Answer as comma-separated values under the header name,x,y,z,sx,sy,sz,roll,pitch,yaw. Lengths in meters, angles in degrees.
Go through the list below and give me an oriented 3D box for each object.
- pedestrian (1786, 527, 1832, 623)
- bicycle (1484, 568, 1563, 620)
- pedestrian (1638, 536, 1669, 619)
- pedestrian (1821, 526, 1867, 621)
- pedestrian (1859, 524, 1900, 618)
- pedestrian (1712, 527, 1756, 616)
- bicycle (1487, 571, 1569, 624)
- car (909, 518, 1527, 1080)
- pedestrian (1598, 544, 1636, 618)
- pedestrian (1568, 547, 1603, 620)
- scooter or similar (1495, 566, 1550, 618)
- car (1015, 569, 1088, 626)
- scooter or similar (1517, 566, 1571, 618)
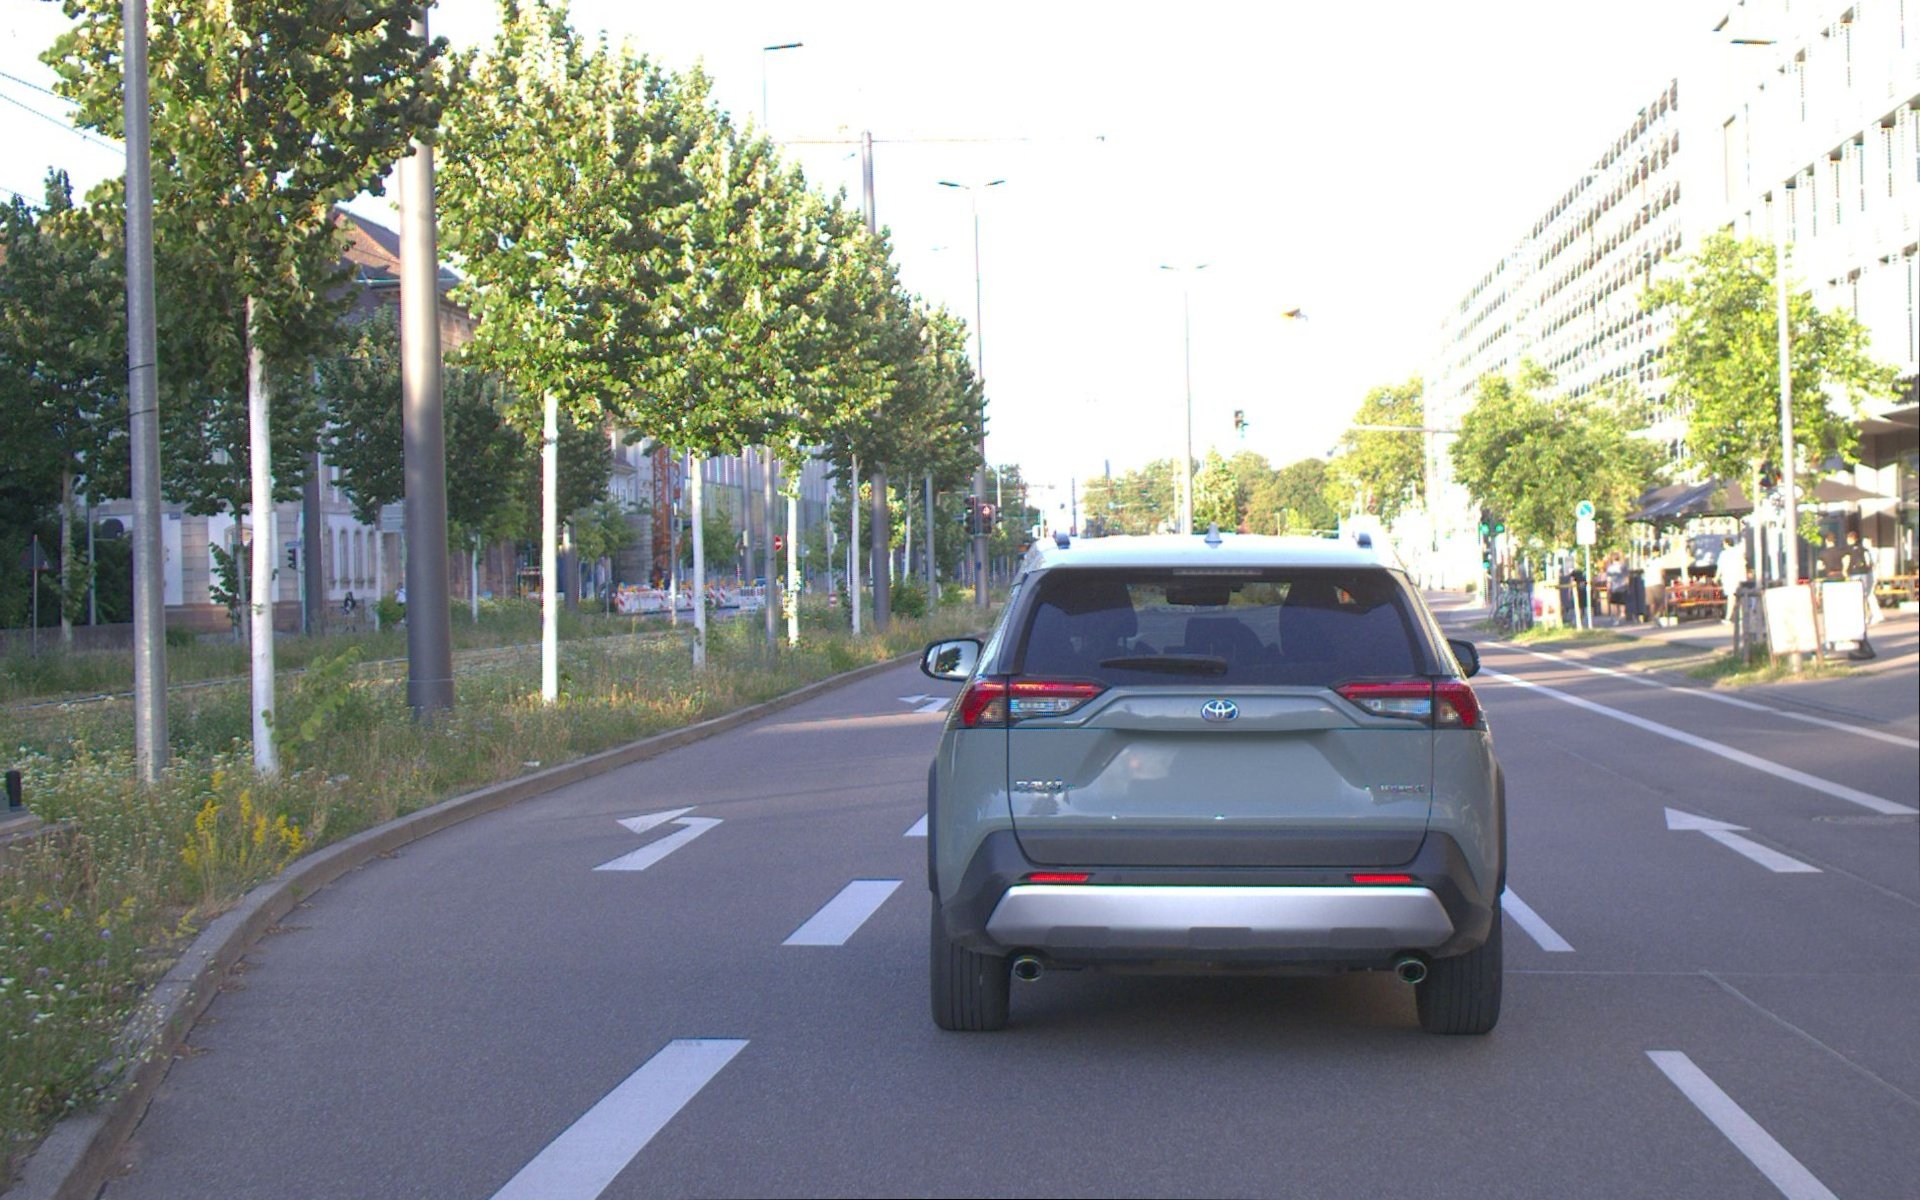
name,x,y,z,sx,sy,sz,roll,pitch,yaw
pedestrian,16.798,-0.496,68.031,0.744,1.842,0.940,-4,0,13
bicycle,13.981,-0.146,85.296,1.793,1.189,0.568,-3,1,-1
pedestrian,15.243,-0.493,75.577,0.576,1.780,0.828,-3,-1,11
pedestrian,17.470,-0.527,67.965,0.756,1.818,0.940,-3,0,13
pedestrian,18.125,-0.566,67.800,0.619,1.805,0.776,-4,0,13
pedestrian,16.769,-0.617,74.527,0.825,1.882,0.866,-3,-1,12
bicycle,13.778,-0.058,83.486,1.847,1.178,0.608,-3,1,4
car,0.887,0.559,12.378,1.834,1.667,4.282,0,1,3
pedestrian,15.671,-0.455,82.035,0.685,1.729,0.761,-3,1,4
pedestrian,14.922,-0.392,82.035,0.653,1.696,0.689,-3,1,4
scooter or similar,13.858,-0.204,84.769,1.209,1.197,0.480,-3,1,-1
car,2.295,-0.072,85.427,1.674,1.347,4.000,0,1,4
scooter or similar,13.978,-0.192,82.292,1.156,1.187,0.509,-3,-1,6
